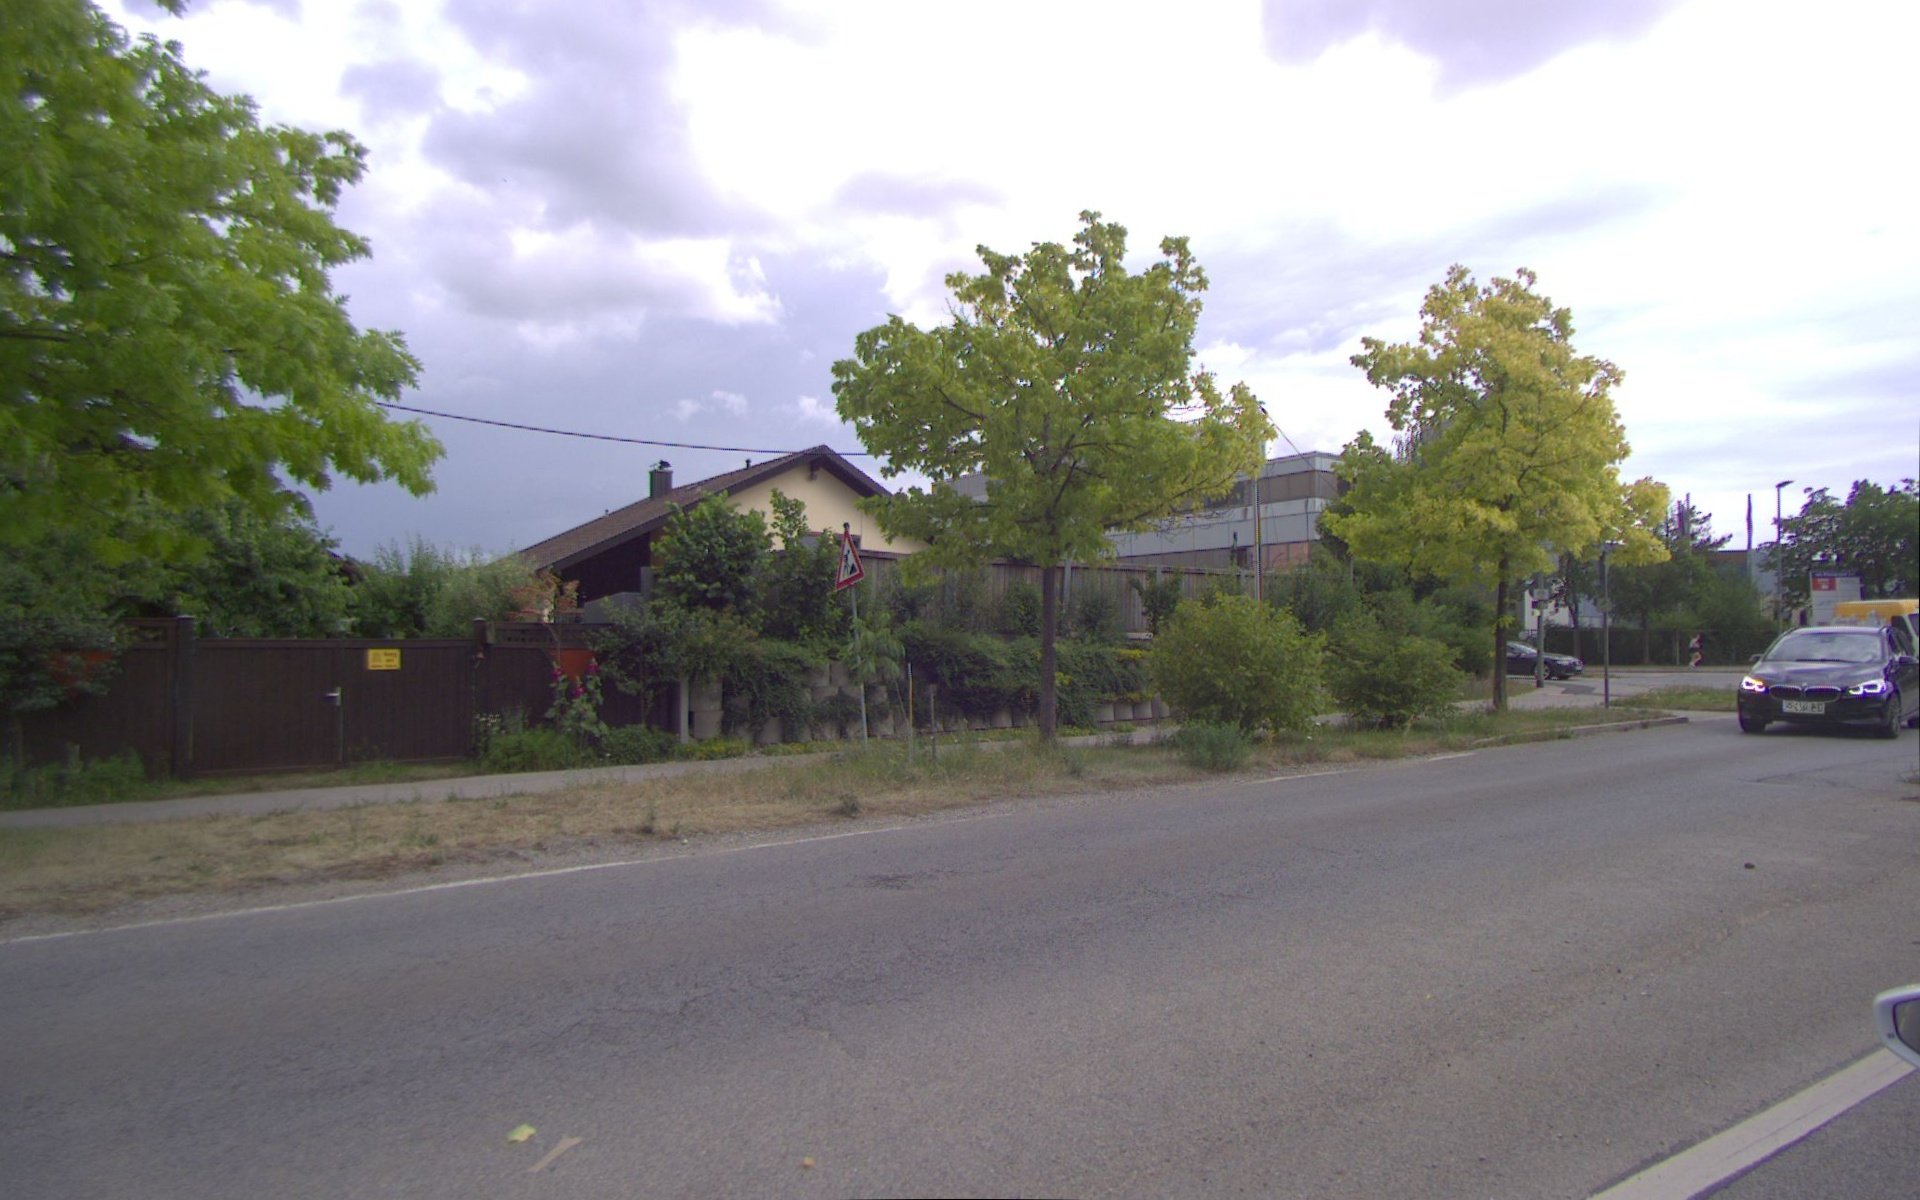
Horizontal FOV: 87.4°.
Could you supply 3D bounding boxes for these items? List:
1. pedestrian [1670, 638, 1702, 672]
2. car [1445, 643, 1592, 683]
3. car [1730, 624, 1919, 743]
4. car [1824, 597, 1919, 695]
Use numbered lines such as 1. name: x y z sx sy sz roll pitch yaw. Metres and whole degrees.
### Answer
1. pedestrian: 32.265 2.431 44.633 0.930 1.487 0.633 -1 -2 4
2. car: 20.871 2.321 37.716 1.915 1.365 4.431 1 -3 -33
3. car: 13.655 1.228 15.717 4.323 1.606 1.723 2 -4 -41
4. car: 26.066 1.216 27.285 2.127 2.484 5.442 -1 -2 21
